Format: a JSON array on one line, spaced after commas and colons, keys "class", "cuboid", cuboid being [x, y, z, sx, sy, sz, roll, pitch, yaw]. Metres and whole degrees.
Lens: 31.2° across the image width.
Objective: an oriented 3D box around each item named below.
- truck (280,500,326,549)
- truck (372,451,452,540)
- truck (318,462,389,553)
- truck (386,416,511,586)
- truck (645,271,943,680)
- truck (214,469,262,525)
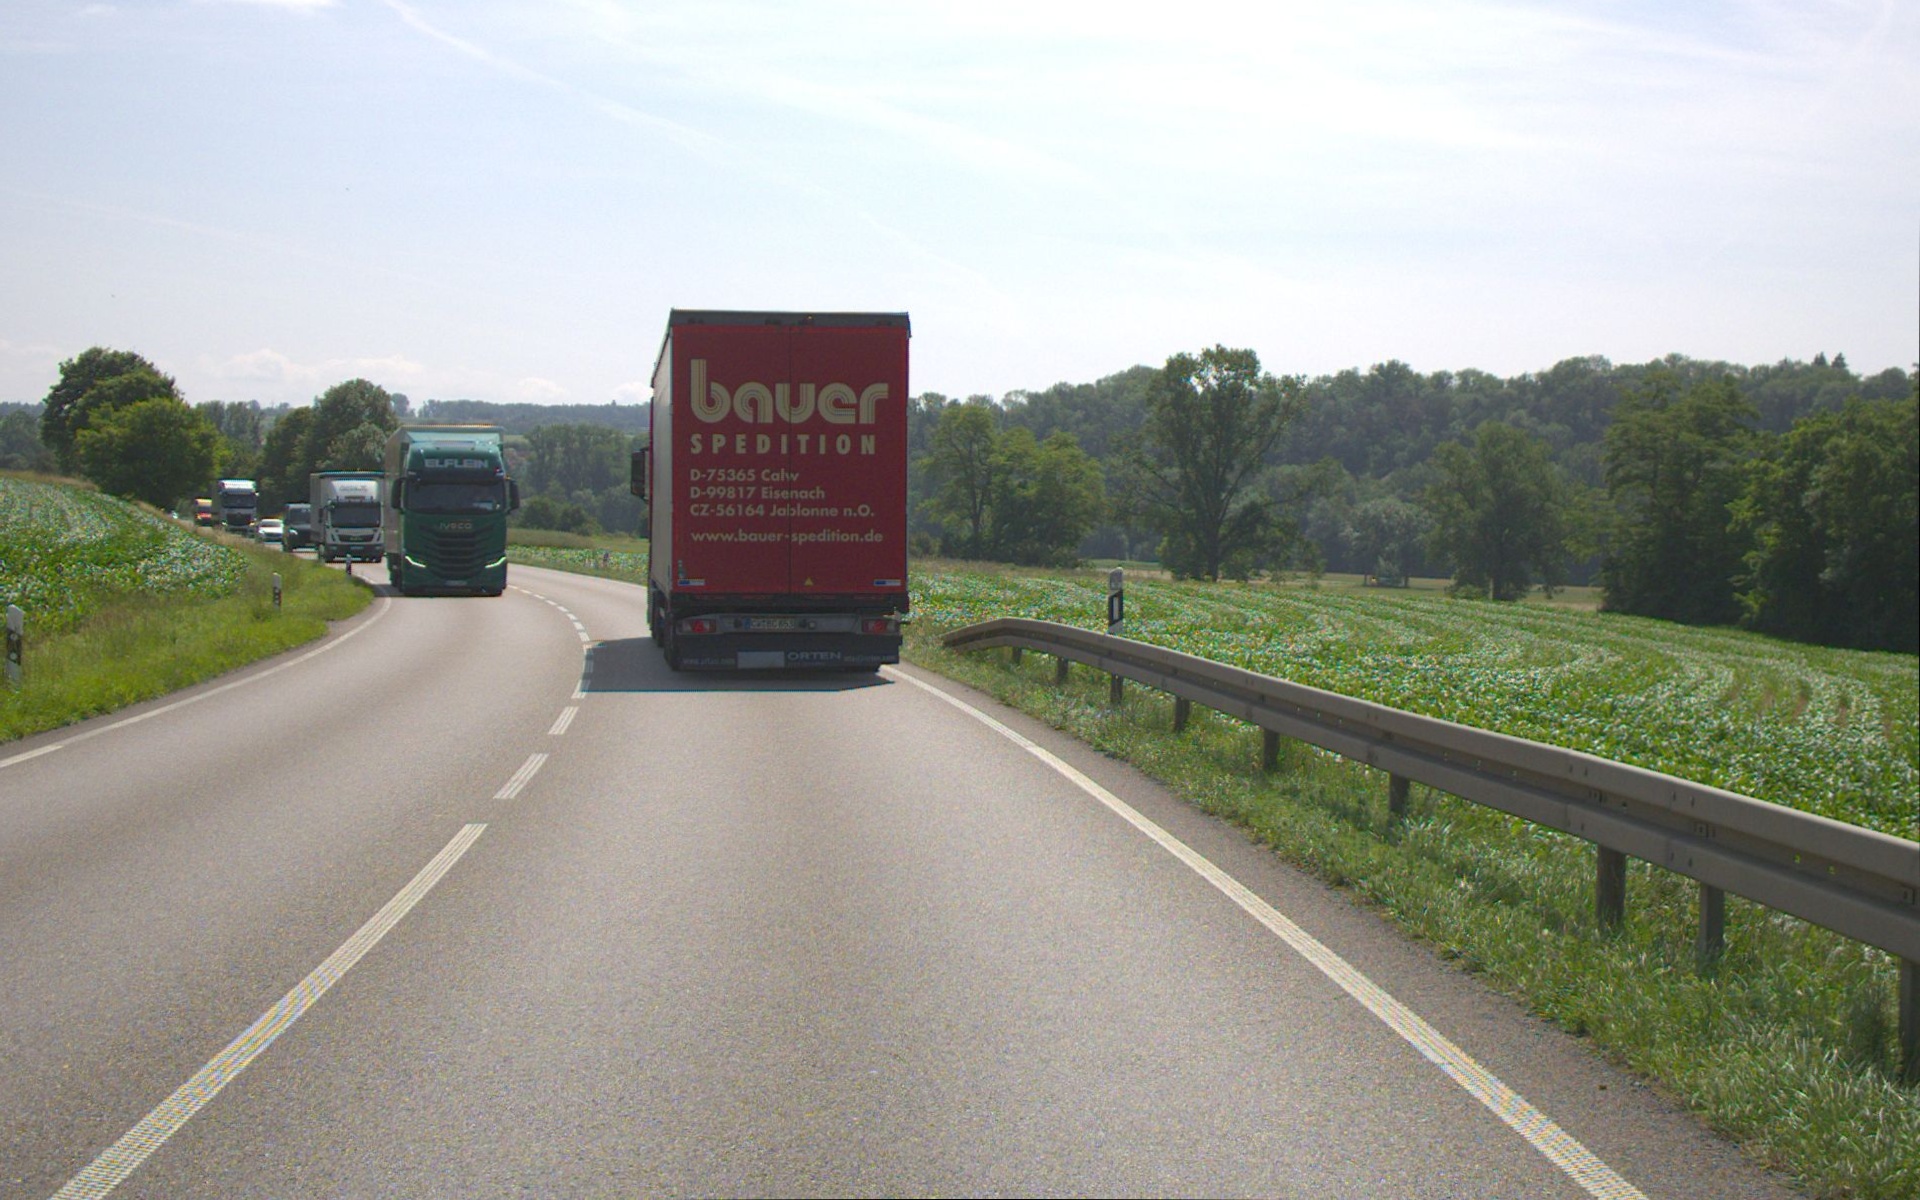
[{"class": "truck", "cuboid": [-32.156, -3.711, 168.153, 2.009, 2.312, 5.193, 0, 1, -13]}, {"class": "truck", "cuboid": [-28.419, -5.322, 177.812, 3.639, 4.277, 11.989, 0, 0, -11]}, {"class": "truck", "cuboid": [-24.917, -3.788, 141.239, 2.740, 3.566, 9.730, 0, 1, -10]}, {"class": "truck", "cuboid": [-13.550, -2.546, 90.074, 2.770, 3.985, 17.033, 0, 1, -10]}, {"class": "truck", "cuboid": [-2.109, -1.351, 40.014, 3.094, 4.248, 8.316, 0, 1, -5]}, {"class": "truck", "cuboid": [-52.548, -7.470, 249.979, 2.826, 3.979, 16.539, 0, 2, -14]}]
